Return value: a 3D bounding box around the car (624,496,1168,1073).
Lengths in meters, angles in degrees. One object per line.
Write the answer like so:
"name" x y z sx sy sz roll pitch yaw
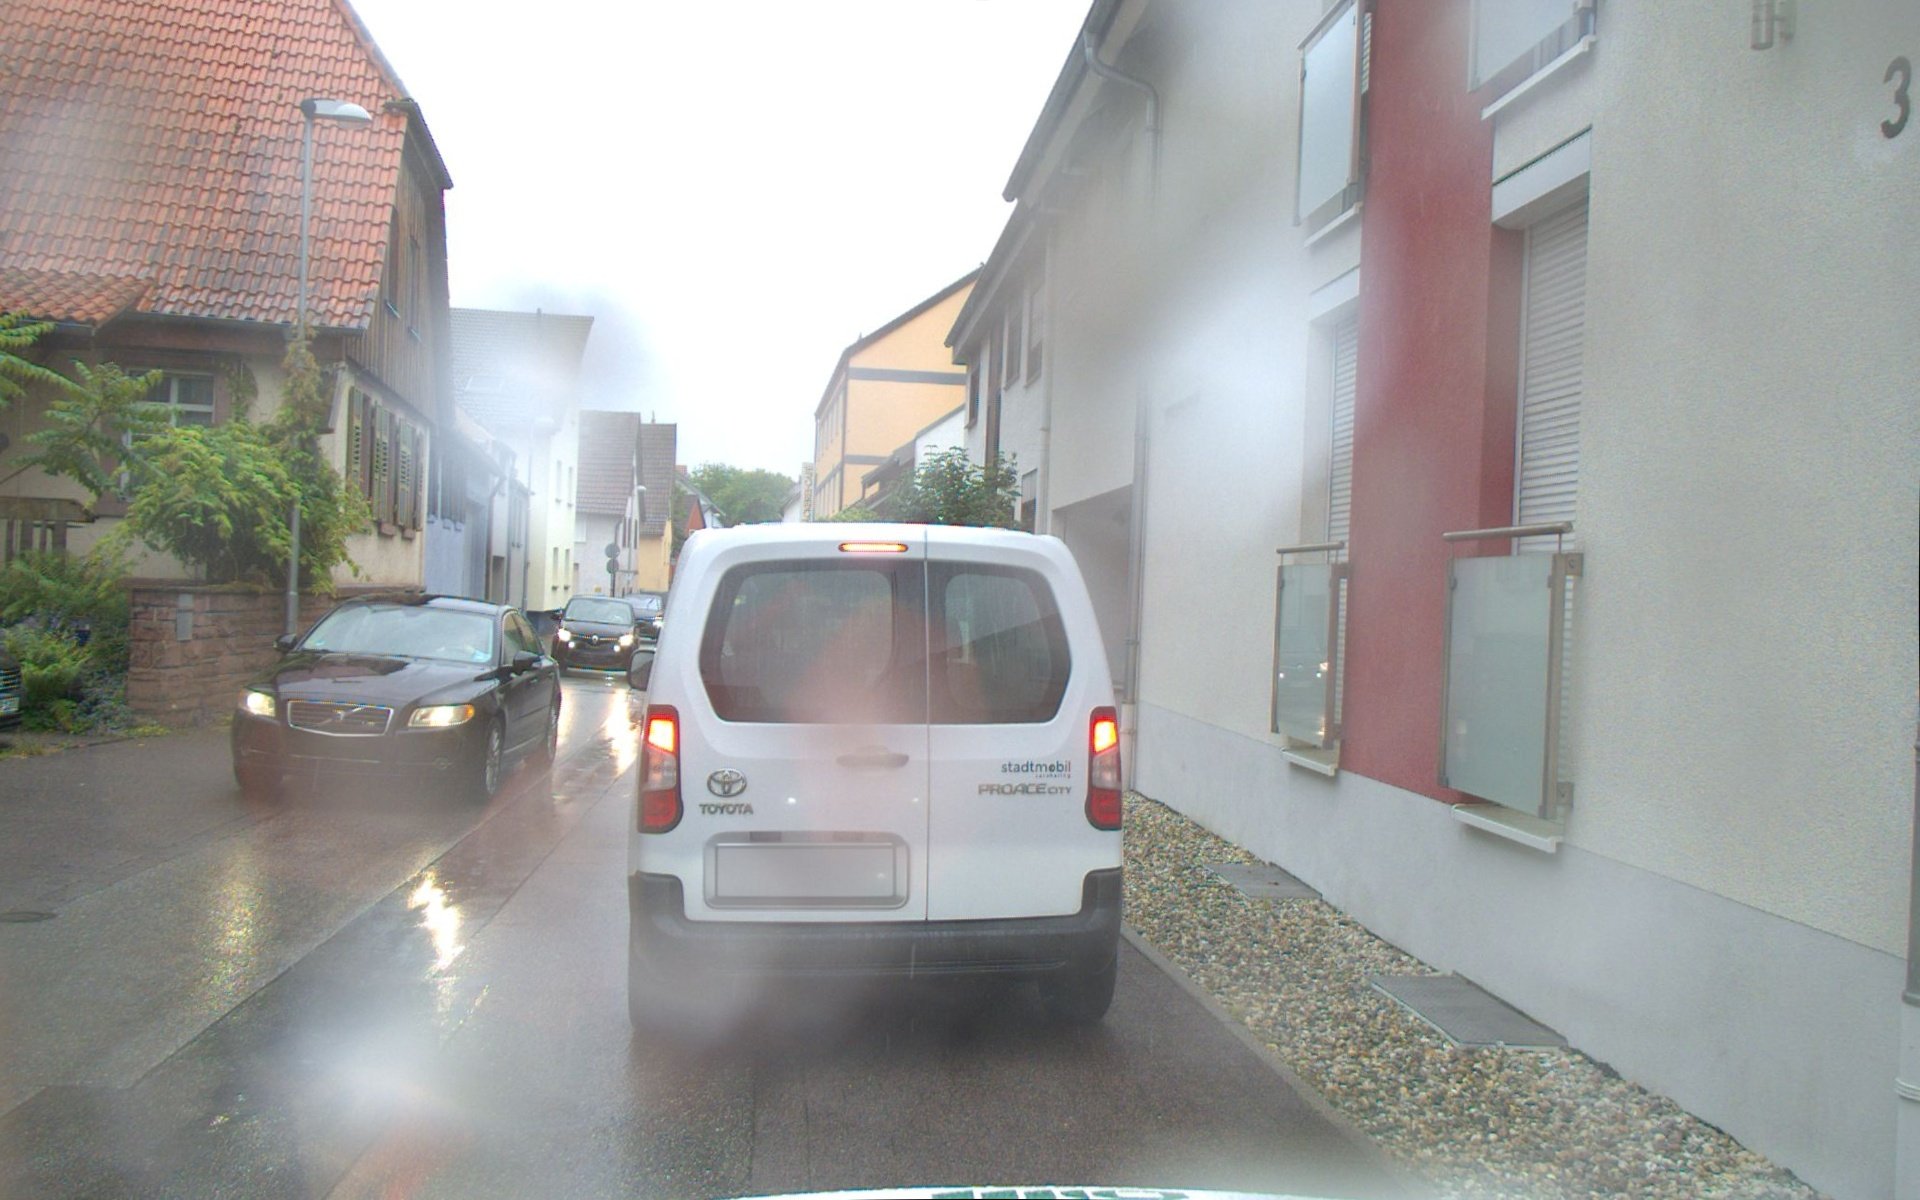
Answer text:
"car" -0.491 0.597 7.322 1.742 1.811 3.991 1 0 -9

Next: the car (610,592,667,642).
"car" -11.103 0.573 57.339 1.799 1.583 4.229 2 0 -10

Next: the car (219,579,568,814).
"car" -4.289 0.665 13.220 1.663 1.535 4.335 2 -1 -6

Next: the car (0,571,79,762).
"car" -9.398 0.315 12.951 3.908 1.450 1.735 7 -1 -1

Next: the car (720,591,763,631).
"car" -8.798 0.436 66.544 1.532 1.503 3.990 1 0 -10

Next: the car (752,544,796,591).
"car" -8.547 -1.462 76.250 1.955 2.049 3.995 1 0 -6

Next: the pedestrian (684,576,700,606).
"pedestrian" -17.649 -0.570 108.832 1.031 1.926 0.875 1 -1 -9

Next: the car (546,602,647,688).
"car" -7.089 0.840 32.529 1.574 1.539 3.681 2 0 -8

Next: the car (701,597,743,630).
"car" -10.764 0.577 74.663 1.747 1.419 3.990 1 0 -10
